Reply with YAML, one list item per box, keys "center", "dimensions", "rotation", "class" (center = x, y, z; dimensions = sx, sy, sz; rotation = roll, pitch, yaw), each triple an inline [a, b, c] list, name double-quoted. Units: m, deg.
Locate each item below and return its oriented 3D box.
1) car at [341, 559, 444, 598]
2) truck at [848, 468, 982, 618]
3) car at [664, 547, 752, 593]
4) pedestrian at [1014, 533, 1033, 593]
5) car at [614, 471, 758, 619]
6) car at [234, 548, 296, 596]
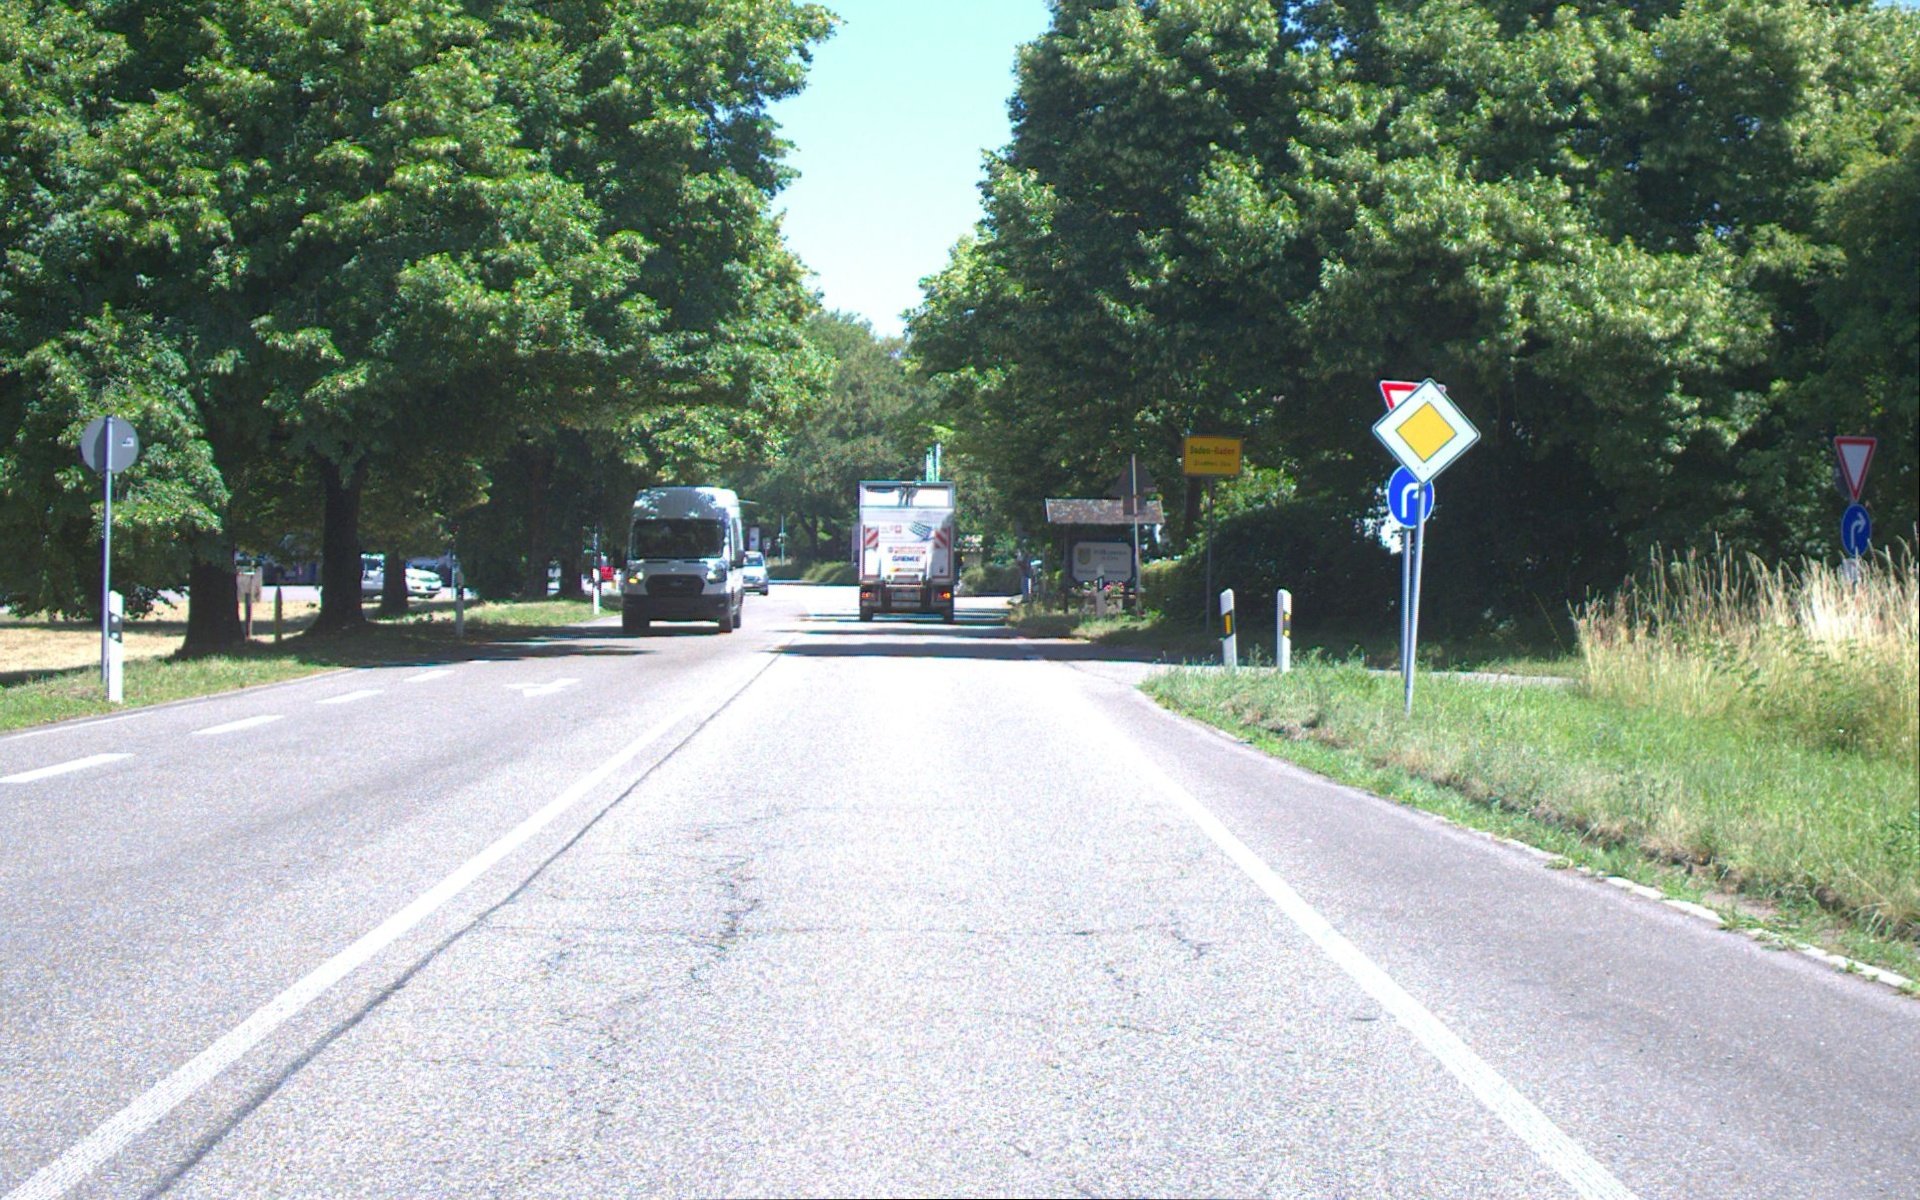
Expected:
- center: [-19.642, -0.749, 118.954]
  dimensions: [3.428, 1.357, 1.333]
  rotation: [0, 1, 28]
  class: "car"
- center: [-0.920, -1.258, 74.417]
  dimensions: [2.534, 3.124, 5.361]
  rotation: [0, 1, 3]
  class: "truck"
- center: [-10.553, -1.255, 143.702]
  dimensions: [1.993, 1.850, 5.317]
  rotation: [0, 1, -24]
  class: "car"
- center: [1.875, -1.085, 101.742]
  dimensions: [0.548, 1.770, 0.577]
  rotation: [0, 0, 4]
  class: "pedestrian"
- center: [-5.067, -1.012, 64.395]
  dimensions: [2.073, 2.618, 6.784]
  rotation: [0, 1, 1]
  class: "car"
- center: [-23.271, -0.947, 114.977]
  dimensions: [1.735, 1.579, 4.001]
  rotation: [0, 1, -16]
  class: "car"
